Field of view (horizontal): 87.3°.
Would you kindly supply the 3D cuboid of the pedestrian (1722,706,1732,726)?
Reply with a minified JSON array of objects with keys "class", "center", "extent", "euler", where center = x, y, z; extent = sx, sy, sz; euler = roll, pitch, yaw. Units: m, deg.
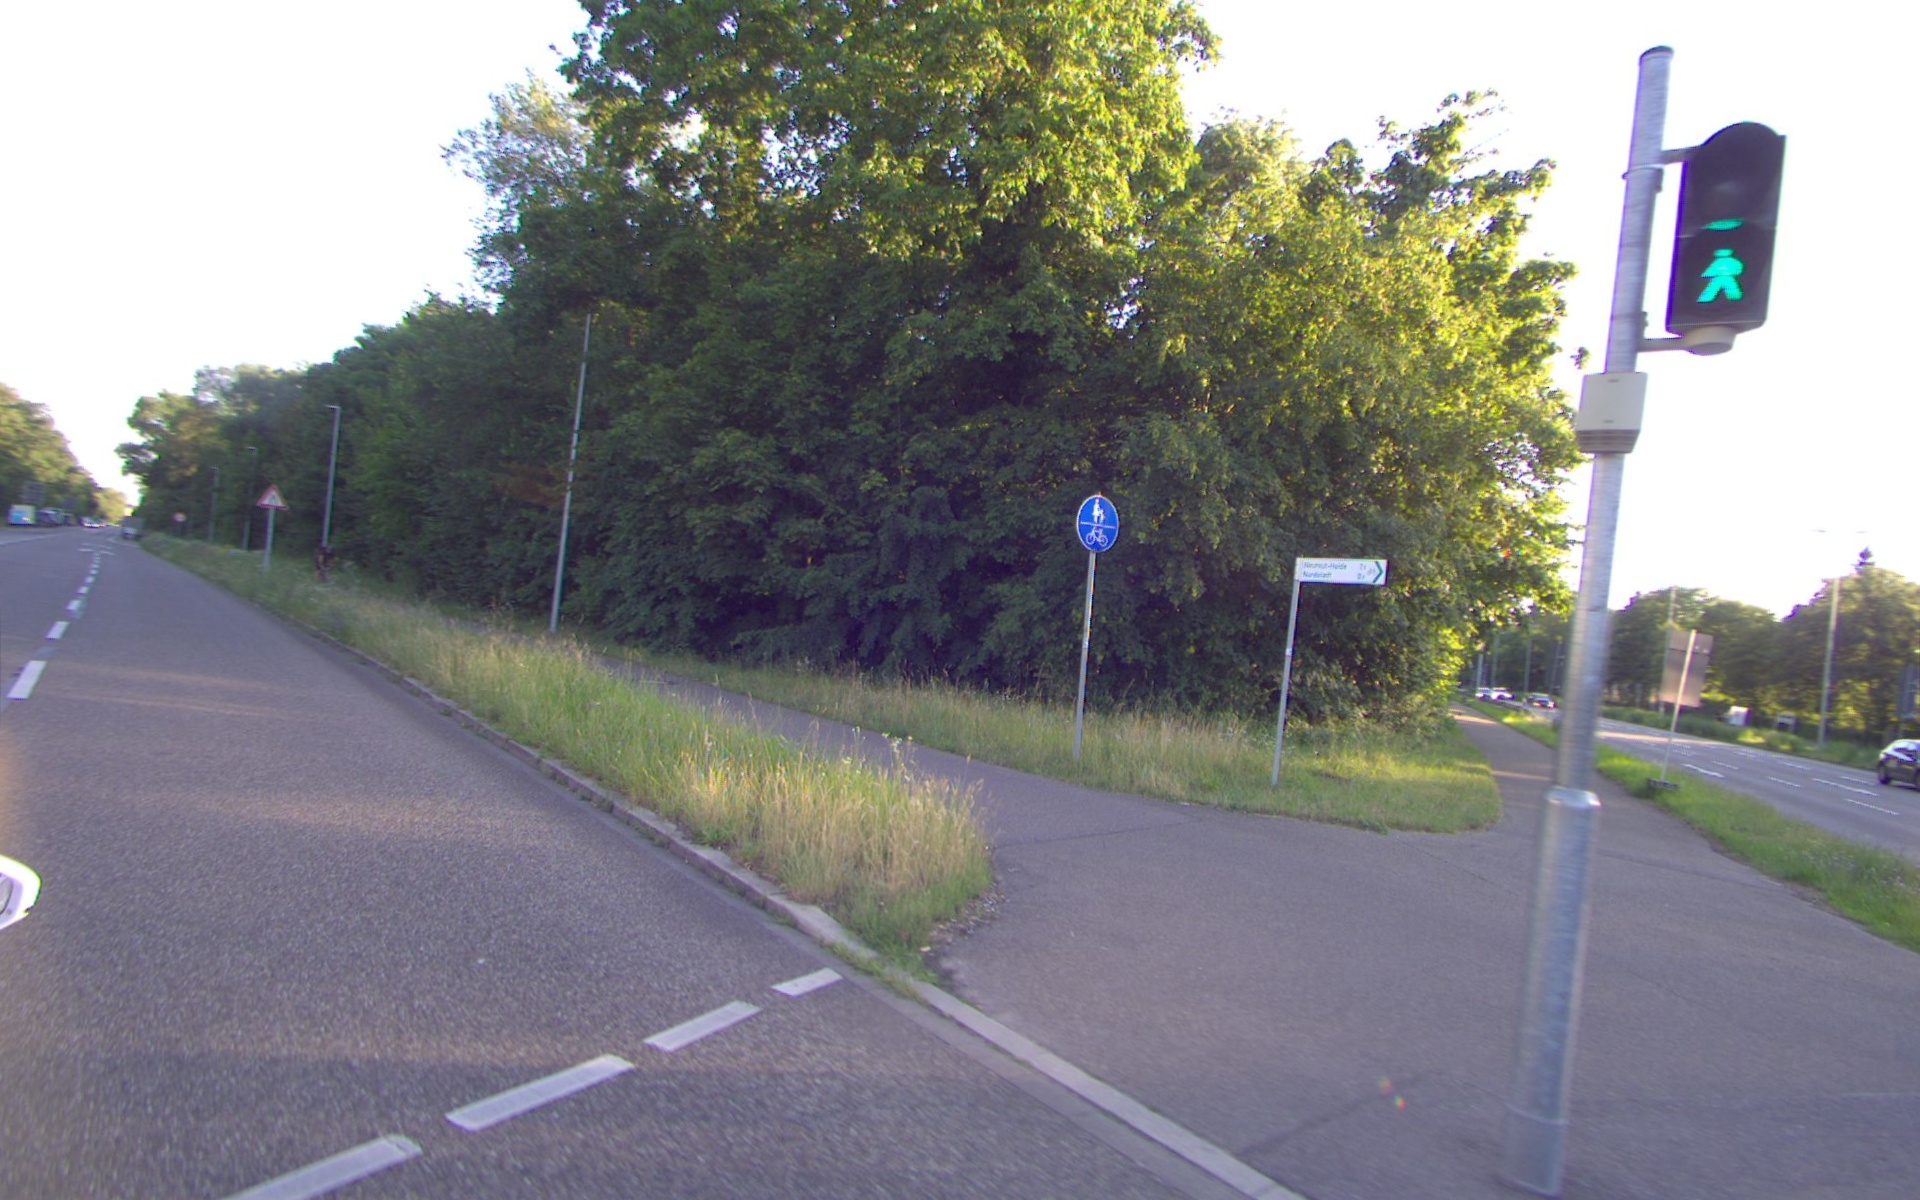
[{"class":"pedestrian","center":[72.201,10.883,94.680],"extent":[0.558,1.796,0.676],"euler":[5,-1,28]}]

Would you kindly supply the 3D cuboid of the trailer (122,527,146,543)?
[{"class":"trailer","center":[-105.005,-8.230,127.914],"extent":[1.443,1.682,3.753],"euler":[6,-1,-27]}]

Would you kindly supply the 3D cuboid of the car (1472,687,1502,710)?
[{"class":"car","center":[44.202,8.261,84.432],"extent":[1.965,1.643,4.394],"euler":[5,-2,26]}]

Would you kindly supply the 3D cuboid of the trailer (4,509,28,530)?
[{"class":"trailer","center":[-113.344,-9.667,120.839],"extent":[1.809,2.194,4.096],"euler":[6,0,-41]}]

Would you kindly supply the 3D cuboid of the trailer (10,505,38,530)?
[{"class":"trailer","center":[-123.319,-10.881,132.558],"extent":[2.314,2.962,5.564],"euler":[4,1,-41]}]

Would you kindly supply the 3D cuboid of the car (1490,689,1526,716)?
[{"class":"car","center":[39.511,7.353,72.637],"extent":[1.965,1.643,4.394],"euler":[5,-2,26]}]

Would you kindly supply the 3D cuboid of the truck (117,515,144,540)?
[{"class":"truck","center":[-125.510,-10.918,152.274],"extent":[2.578,3.292,7.145],"euler":[8,-2,-38]}]

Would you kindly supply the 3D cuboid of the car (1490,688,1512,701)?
[{"class":"car","center":[70.876,12.361,131.880],"extent":[1.713,1.303,3.746],"euler":[6,-1,18]}]

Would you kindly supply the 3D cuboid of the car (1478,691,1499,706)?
[{"class":"car","center":[57.527,10.675,109.448],"extent":[1.841,1.422,4.070],"euler":[4,-2,29]}]

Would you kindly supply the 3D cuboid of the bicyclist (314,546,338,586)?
[{"class":"bicyclist","center":[-25.037,-1.352,39.744],"extent":[0.600,1.473,0.771],"euler":[6,0,-39]}]

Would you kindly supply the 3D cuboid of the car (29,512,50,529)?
[{"class":"car","center":[-139.115,-11.986,152.048],"extent":[1.983,2.395,5.702],"euler":[4,1,-40]}]

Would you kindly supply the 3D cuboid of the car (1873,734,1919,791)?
[{"class":"car","center":[28.318,4.776,28.991],"extent":[1.839,1.422,4.073],"euler":[4,-2,26]}]

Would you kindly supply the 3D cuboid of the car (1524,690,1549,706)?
[{"class":"car","center":[60.451,10.231,105.485],"extent":[1.839,1.422,4.074],"euler":[4,-2,25]}]

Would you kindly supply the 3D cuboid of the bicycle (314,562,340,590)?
[{"class":"bicycle","center":[-24.906,-0.944,39.582],"extent":[0.608,1.008,1.673],"euler":[6,-1,-39]}]
